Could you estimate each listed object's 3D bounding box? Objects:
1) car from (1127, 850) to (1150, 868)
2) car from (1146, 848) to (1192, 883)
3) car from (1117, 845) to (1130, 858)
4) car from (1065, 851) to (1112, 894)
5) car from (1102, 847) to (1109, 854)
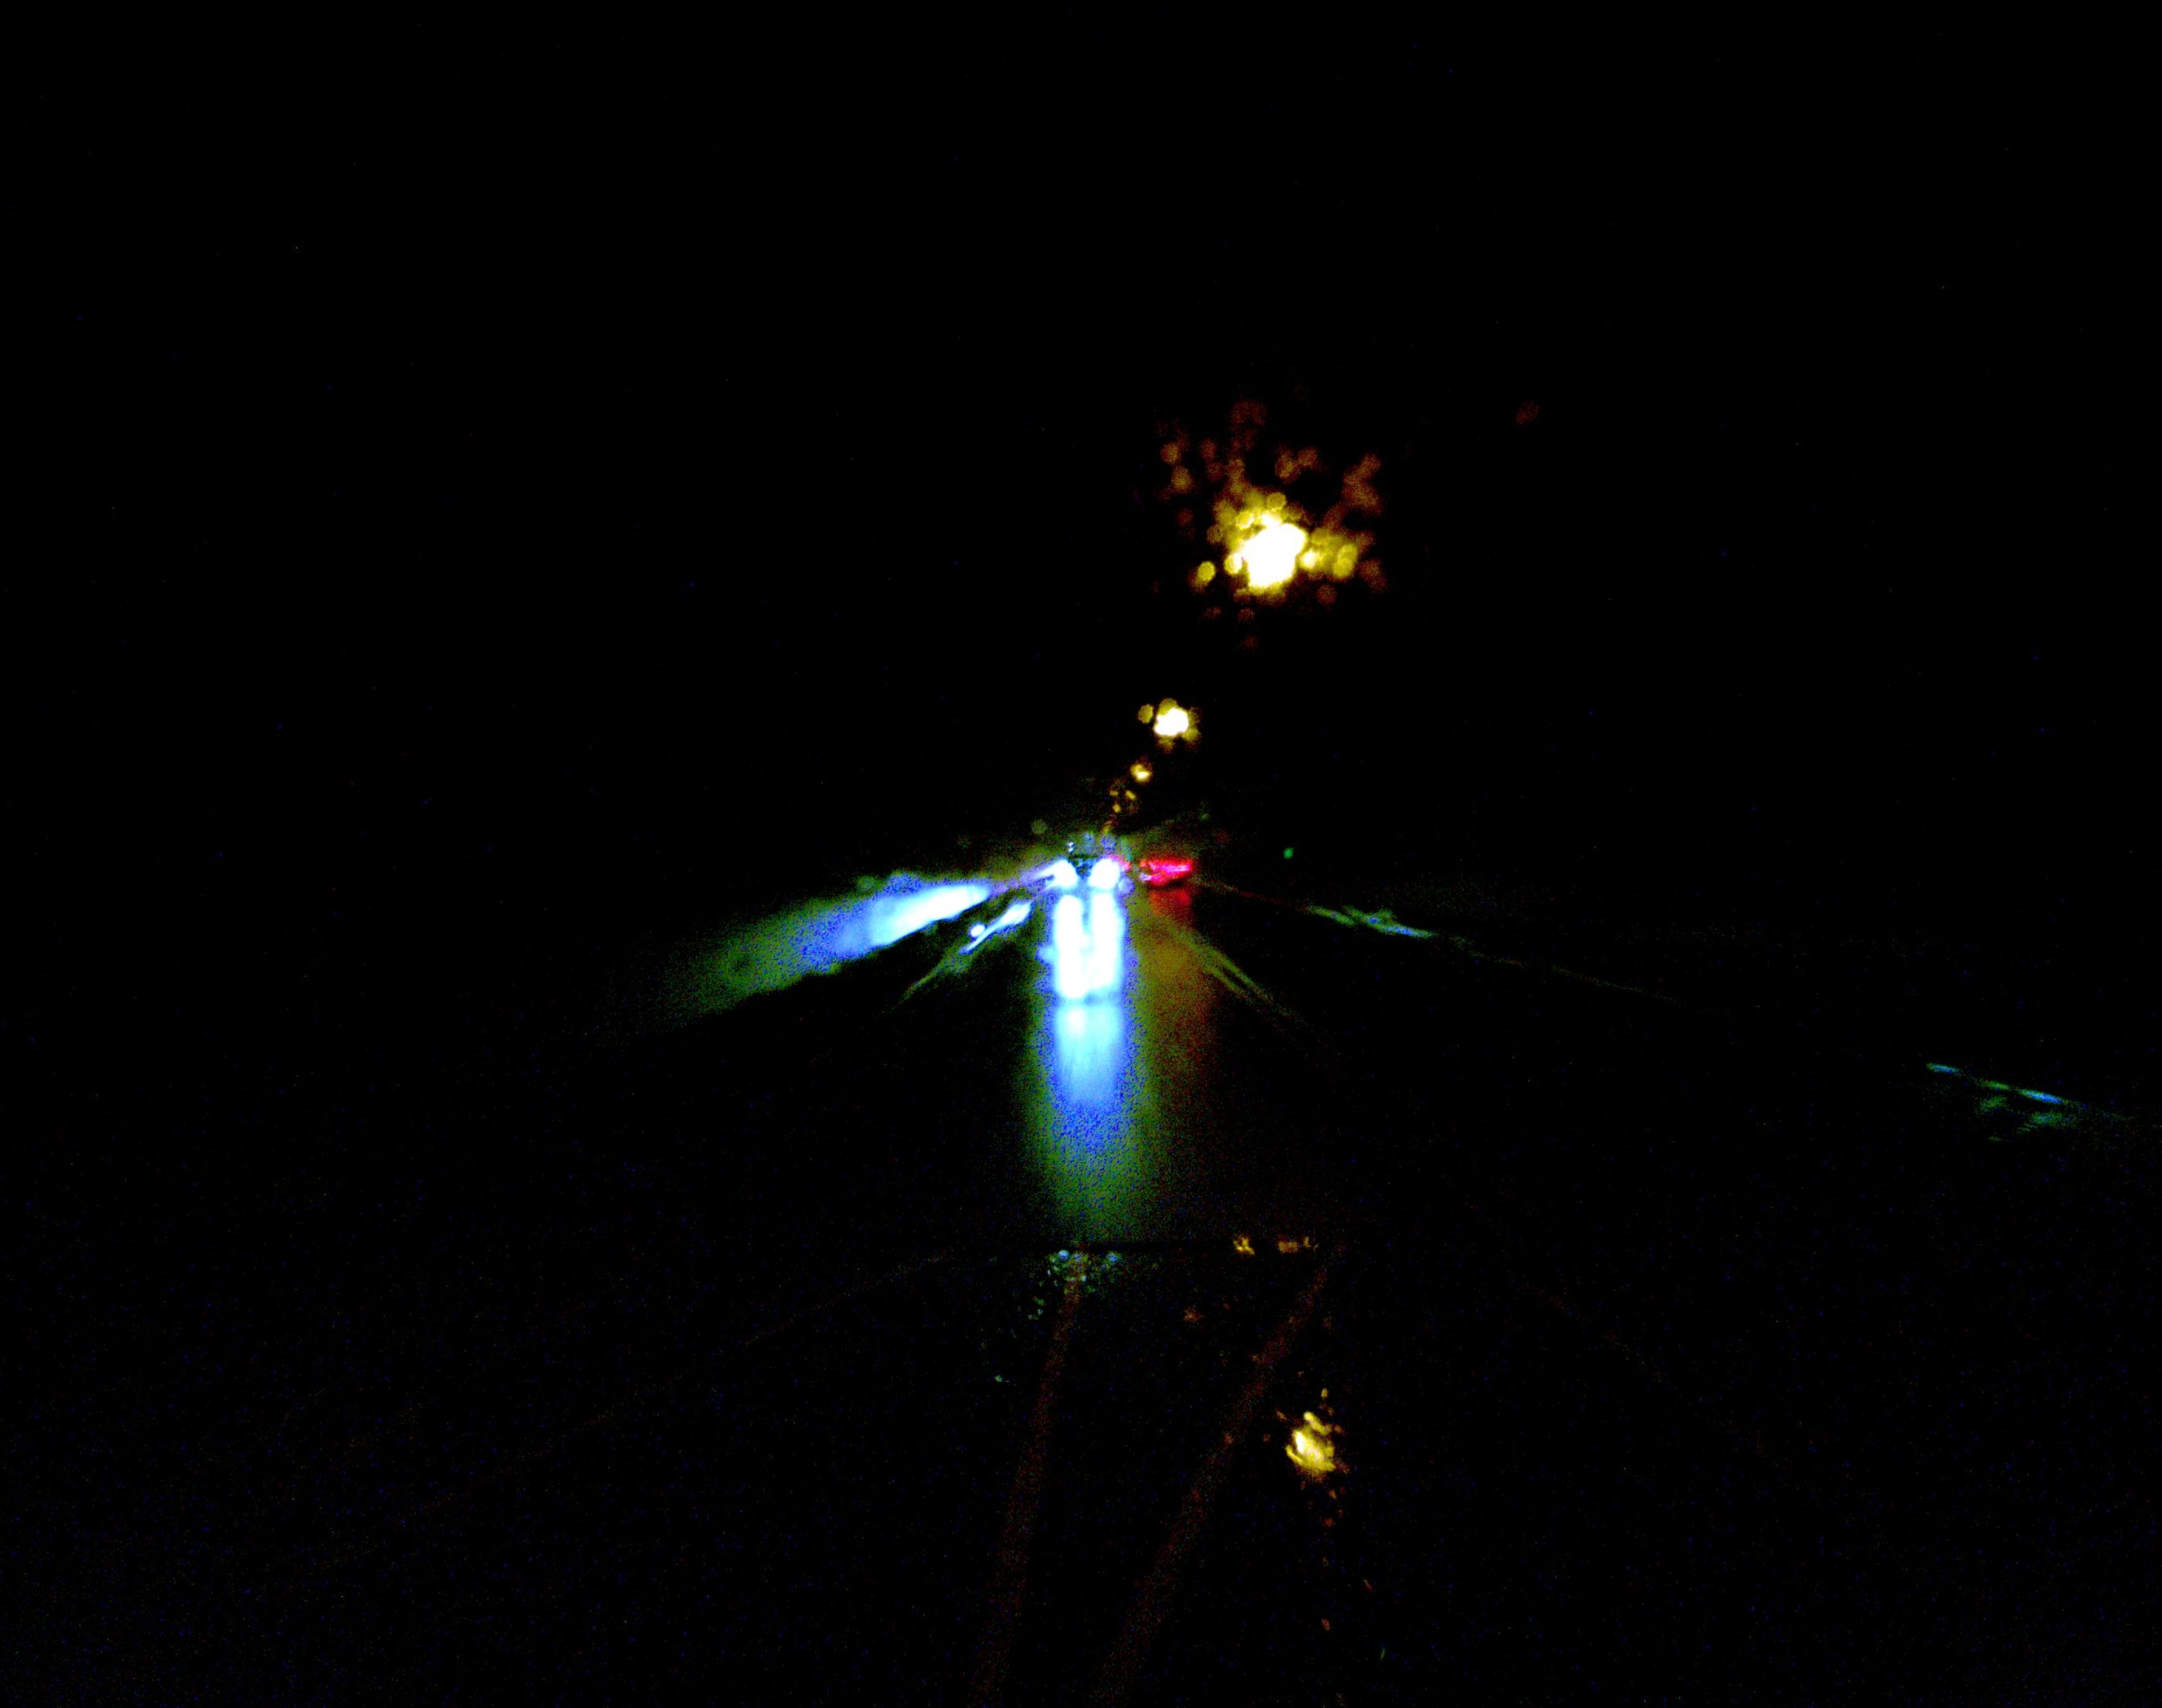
[{"bbox_3d":[4.943,0.371,65.618,1.739,1.433,3.836,-2,0,1],"label":"car"},{"bbox_3d":[4.130,0.511,36.112,1.764,1.472,3.887,-3,0,2],"label":"car"},{"bbox_3d":[5.667,-0.371,102.572,1.573,1.622,3.729,-1,1,1],"label":"car"},{"bbox_3d":[0.333,0.715,31.604,1.829,1.650,3.929,-1,1,1],"label":"car"},{"bbox_3d":[5.618,-0.754,175.770,1.602,1.604,3.995,-2,1,1],"label":"car"}]
